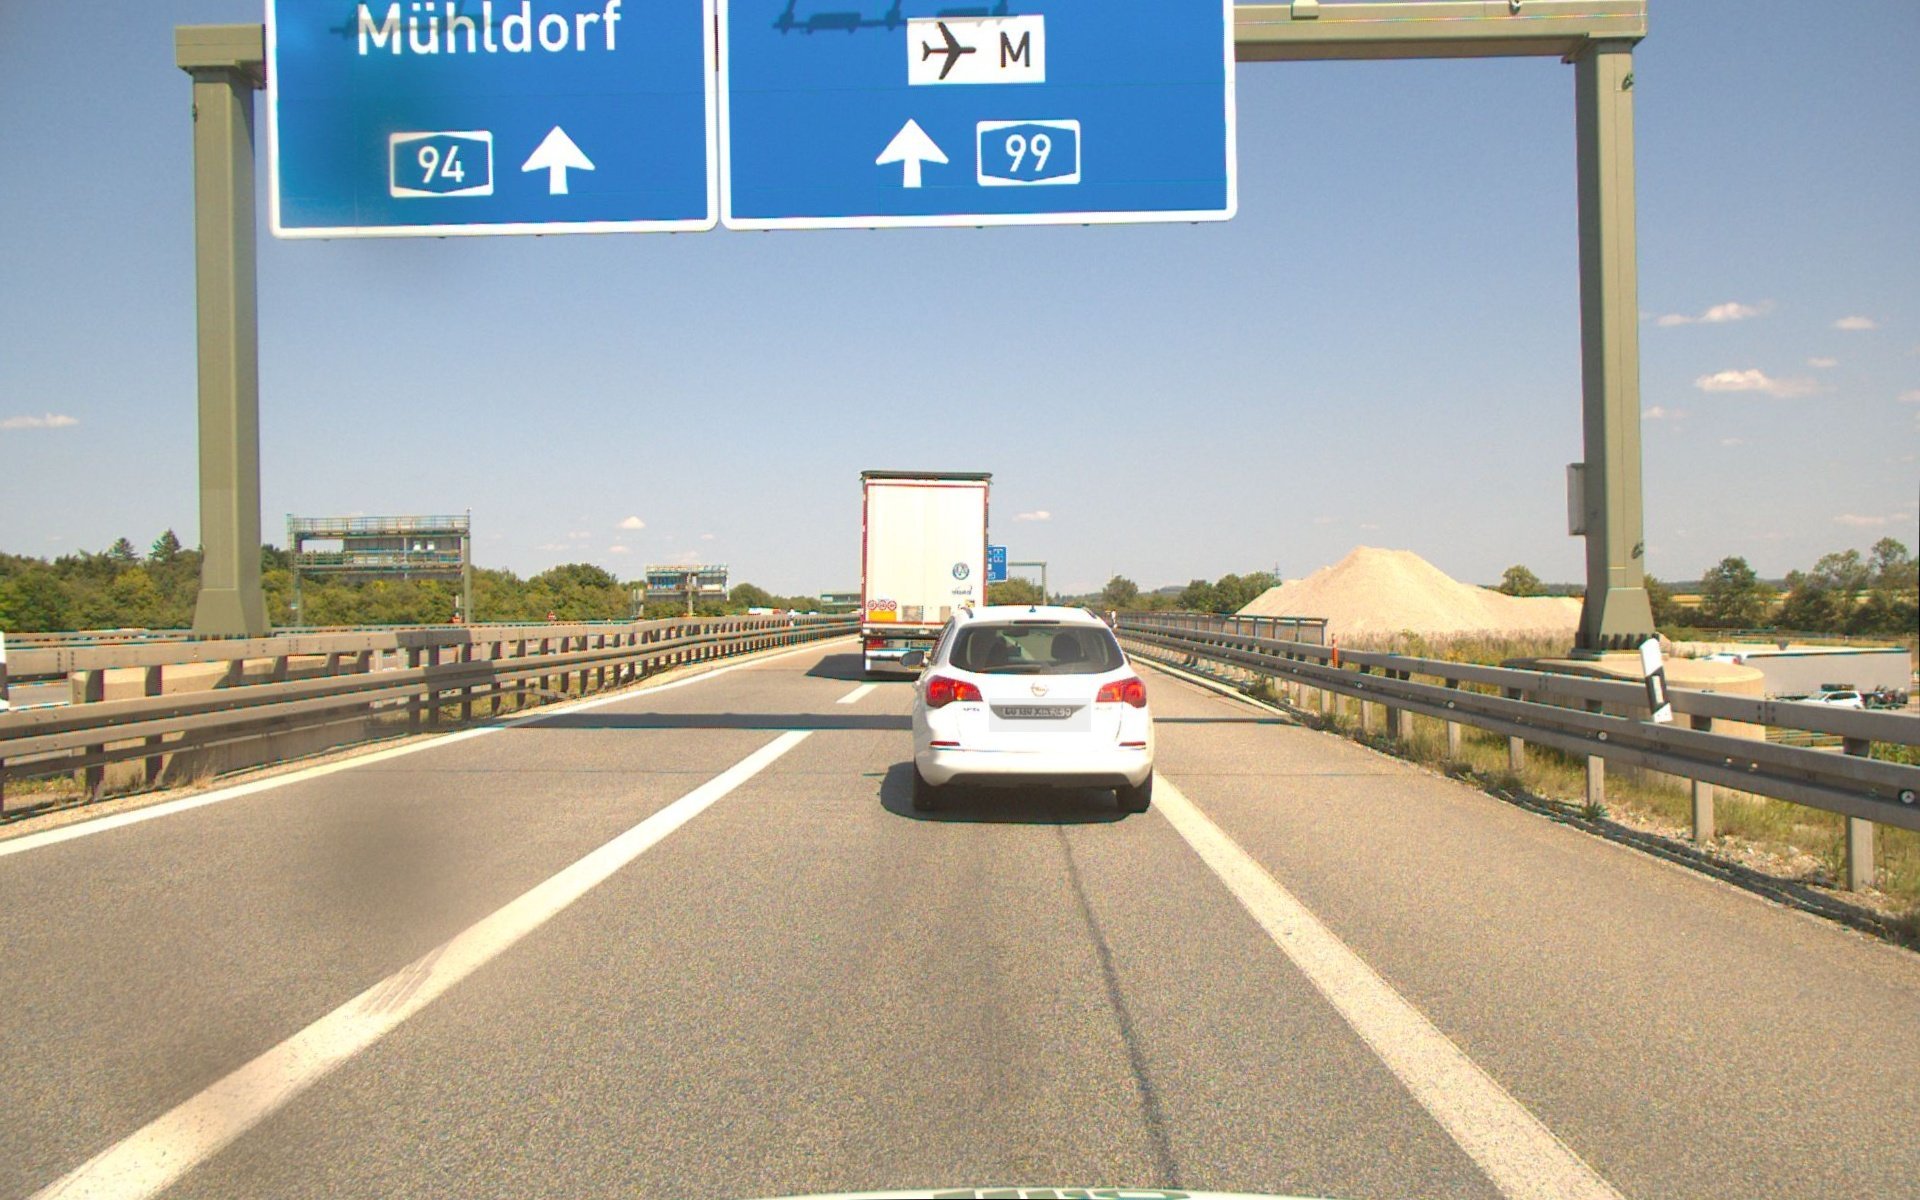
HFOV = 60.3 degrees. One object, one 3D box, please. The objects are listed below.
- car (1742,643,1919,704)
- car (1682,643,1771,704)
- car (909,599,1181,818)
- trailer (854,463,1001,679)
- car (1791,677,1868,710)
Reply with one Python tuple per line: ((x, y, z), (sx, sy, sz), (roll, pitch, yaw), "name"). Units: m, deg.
((61.143, 5.147, 115.485), (12.731, 4.033, 2.477), (1, -1, -9), "car")
((52.875, 5.048, 114.095), (5.048, 4.033, 2.477), (1, -1, -9), "car")
((0.592, 0.744, 13.276), (1.816, 1.468, 4.372), (0, 0, 0), "car")
((-0.642, -0.451, 38.109), (2.853, 4.218, 11.255), (0, -1, 0), "trailer")
((58.770, 6.311, 111.781), (4.314, 2.049, 1.996), (1, -1, -9), "car")
